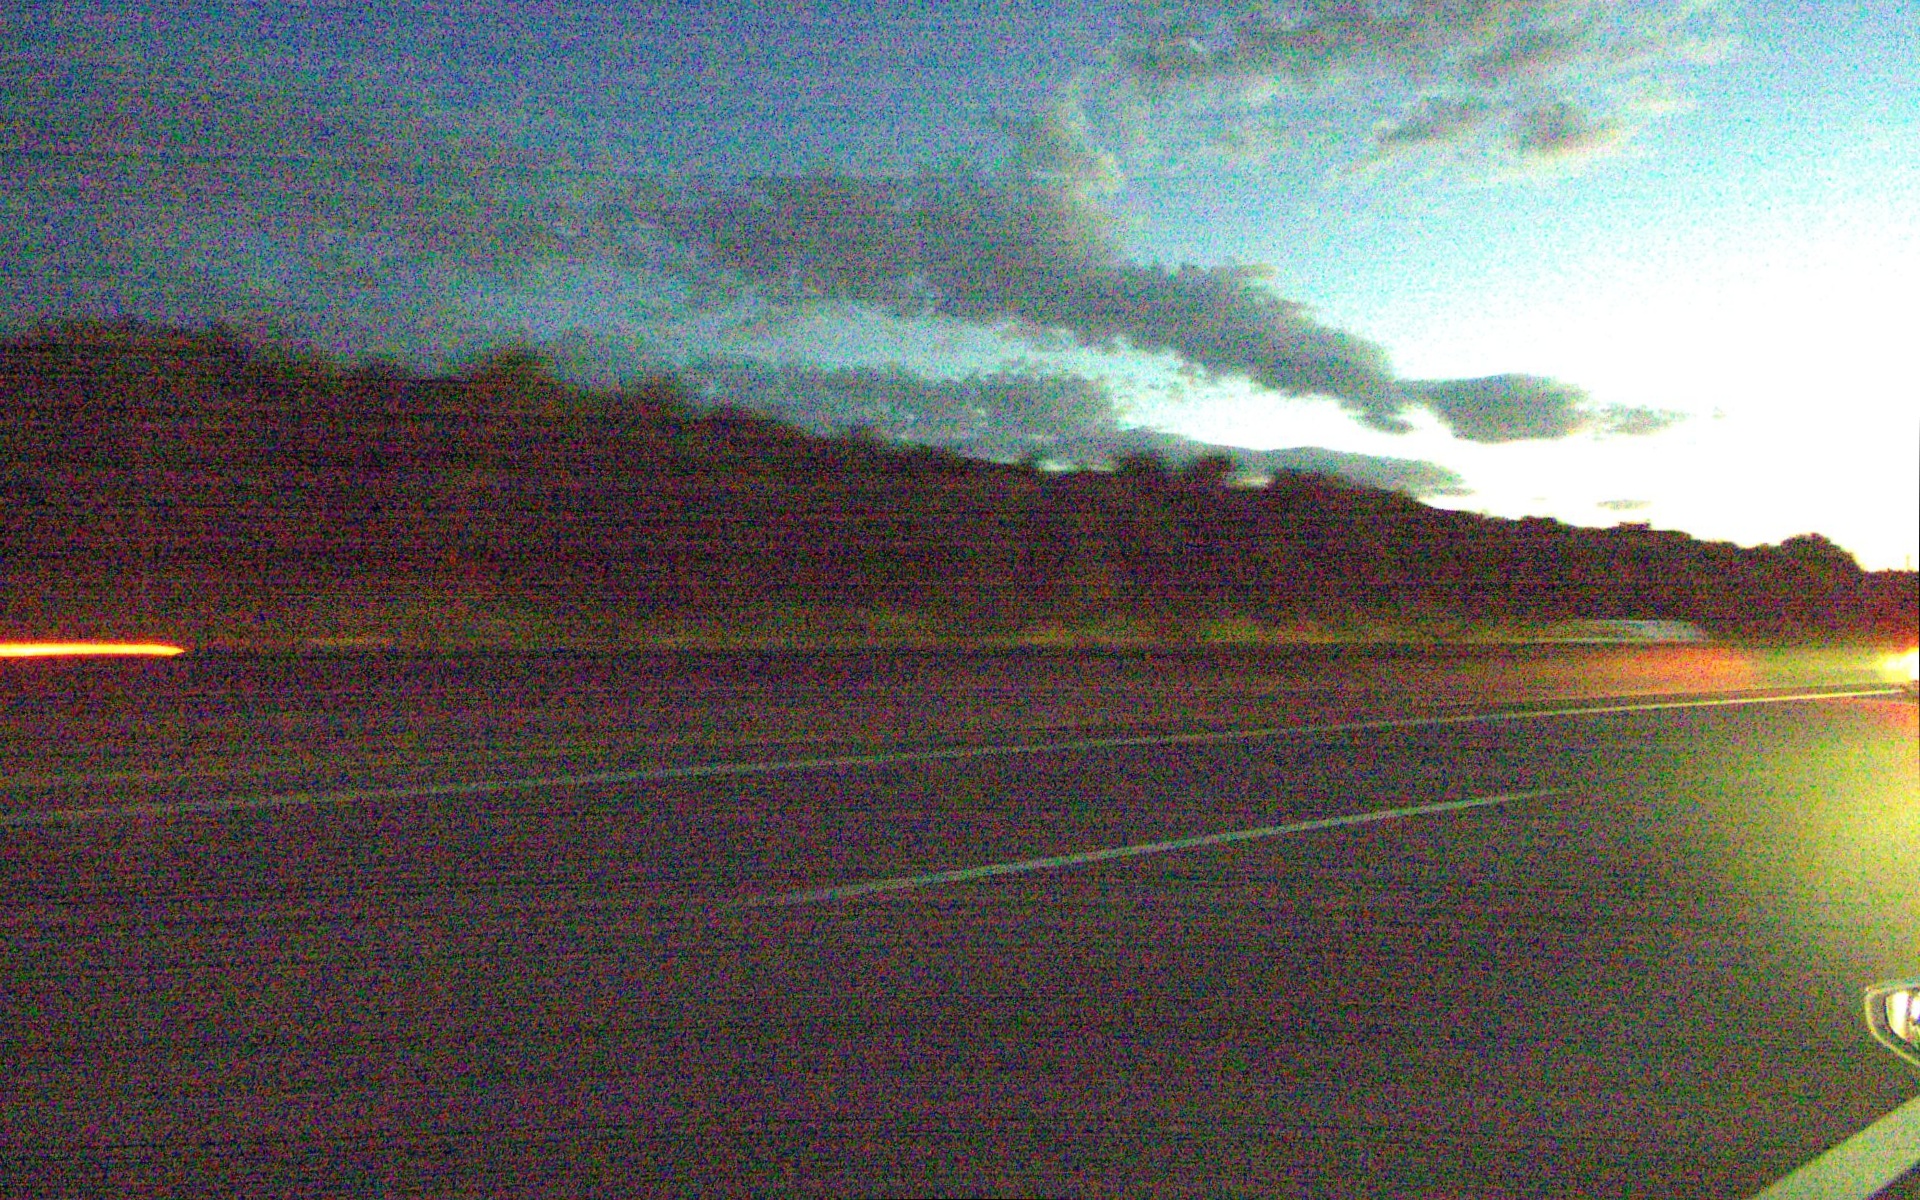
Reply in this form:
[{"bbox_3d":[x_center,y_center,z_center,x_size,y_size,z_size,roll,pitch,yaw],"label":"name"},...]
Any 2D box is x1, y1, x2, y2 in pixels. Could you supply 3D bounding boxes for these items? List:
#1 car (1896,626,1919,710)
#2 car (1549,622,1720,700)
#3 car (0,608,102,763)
[{"bbox_3d":[19.731,1.277,18.819,5.191,1.506,1.771,1,0,-30],"label":"car"},{"bbox_3d":[19.266,1.684,28.669,4.707,1.981,2.186,1,0,-30],"label":"car"},{"bbox_3d":[-14.625,1.098,13.210,4.707,1.981,2.186,1,0,-30],"label":"car"}]
